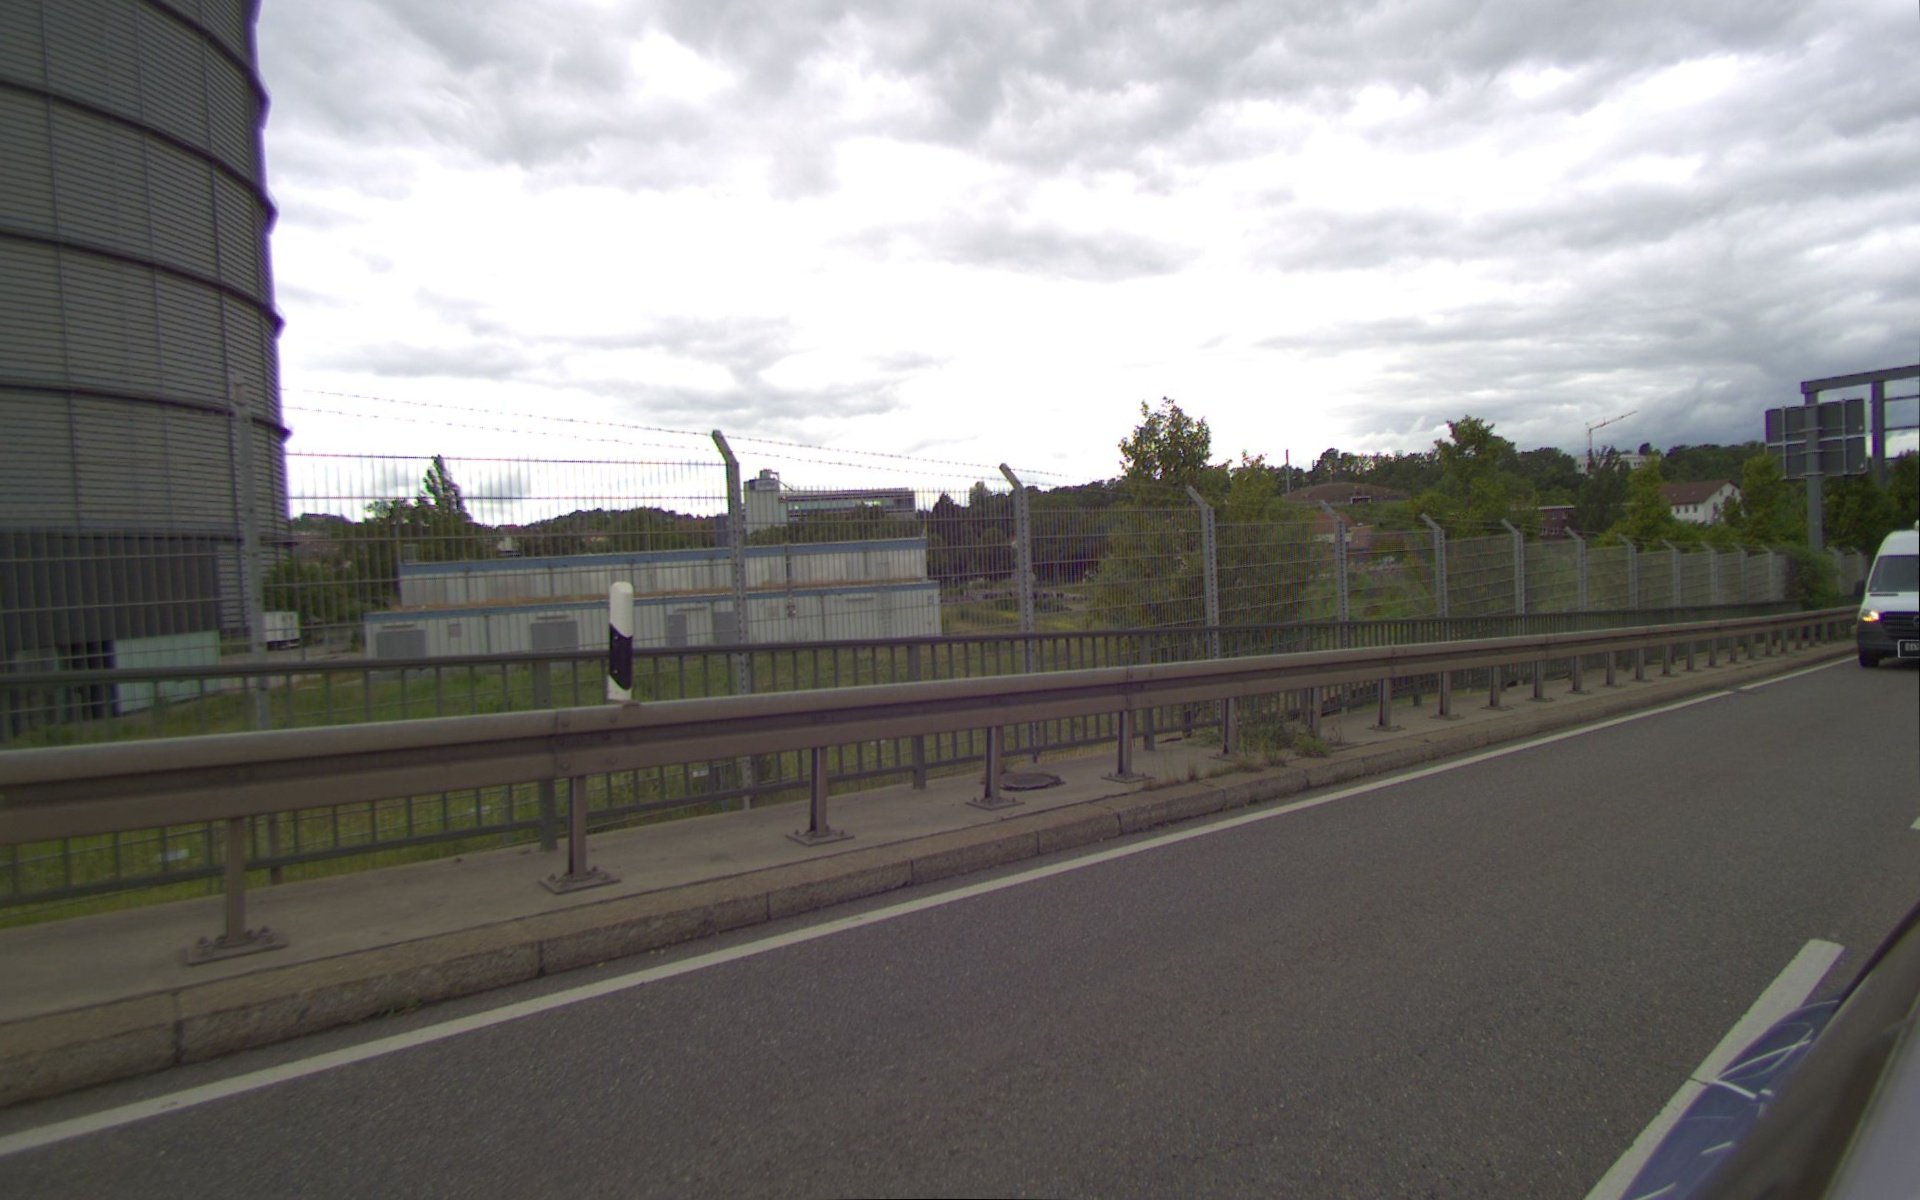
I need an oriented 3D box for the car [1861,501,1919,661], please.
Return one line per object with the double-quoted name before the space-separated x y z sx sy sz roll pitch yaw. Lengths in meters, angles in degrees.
"car" 19.567 -0.395 19.663 6.660 2.818 2.114 -1 1 -40
